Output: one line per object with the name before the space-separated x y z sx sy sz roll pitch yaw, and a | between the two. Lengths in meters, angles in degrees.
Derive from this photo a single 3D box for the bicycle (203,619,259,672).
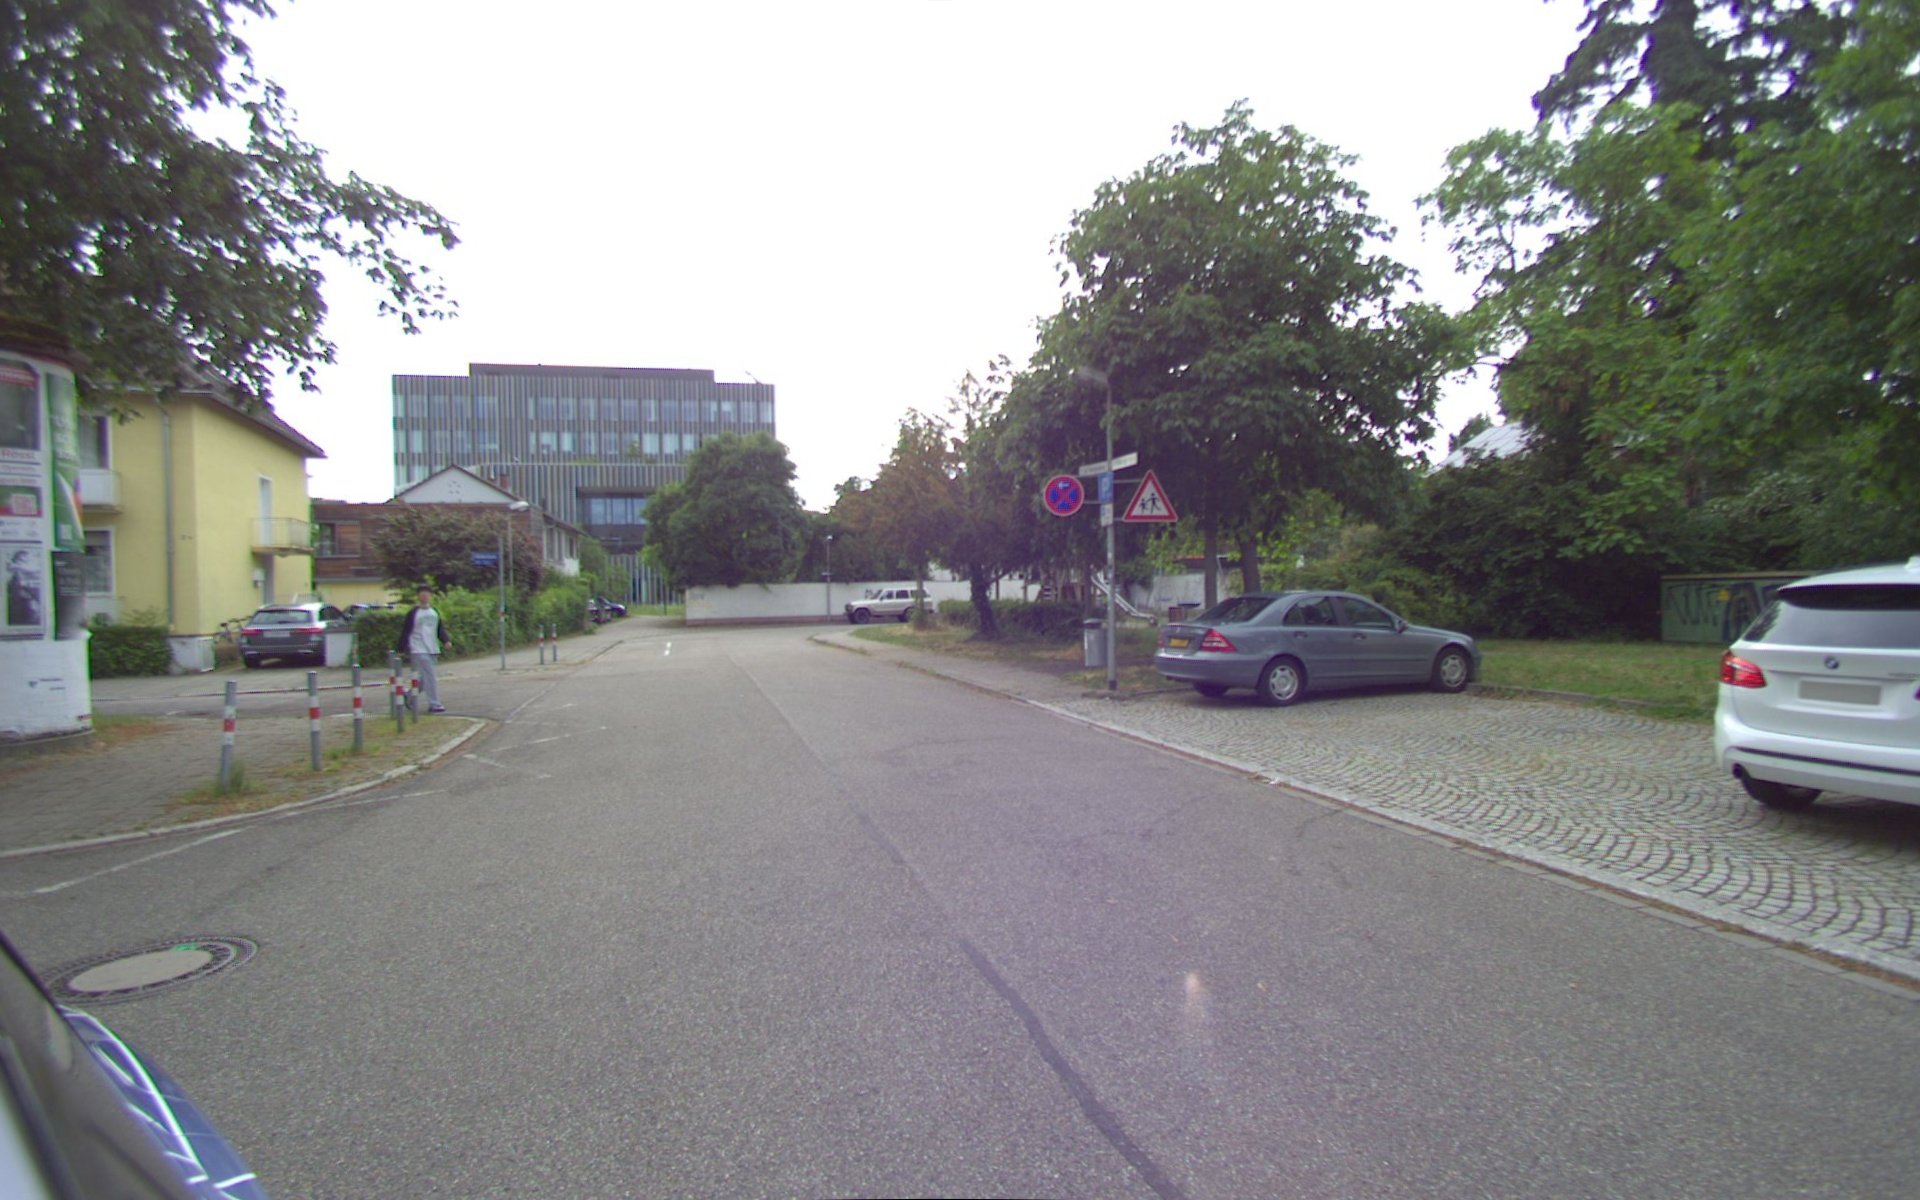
bicycle | -17.631 1.072 24.521 0.475 1.203 2.183 -2 0 -19

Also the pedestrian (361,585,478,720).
pedestrian | -7.757 0.733 14.545 1.209 1.850 0.874 -1 0 18

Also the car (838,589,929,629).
car | -4.049 0.461 53.661 4.417 1.873 2.007 -2 3 -19

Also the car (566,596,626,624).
car | -26.724 0.685 74.384 3.933 1.851 2.006 -1 3 -14

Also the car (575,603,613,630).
car | -23.224 1.018 64.322 1.966 1.408 4.012 -2 3 -15

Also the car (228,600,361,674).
car | -16.194 0.842 24.836 1.811 1.622 4.013 -1 0 -20

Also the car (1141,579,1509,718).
car | 4.826 0.553 13.391 4.482 1.465 1.685 -3 1 -20

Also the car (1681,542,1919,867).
car | 6.763 0.413 5.949 4.079 1.572 1.890 -5 2 -15
